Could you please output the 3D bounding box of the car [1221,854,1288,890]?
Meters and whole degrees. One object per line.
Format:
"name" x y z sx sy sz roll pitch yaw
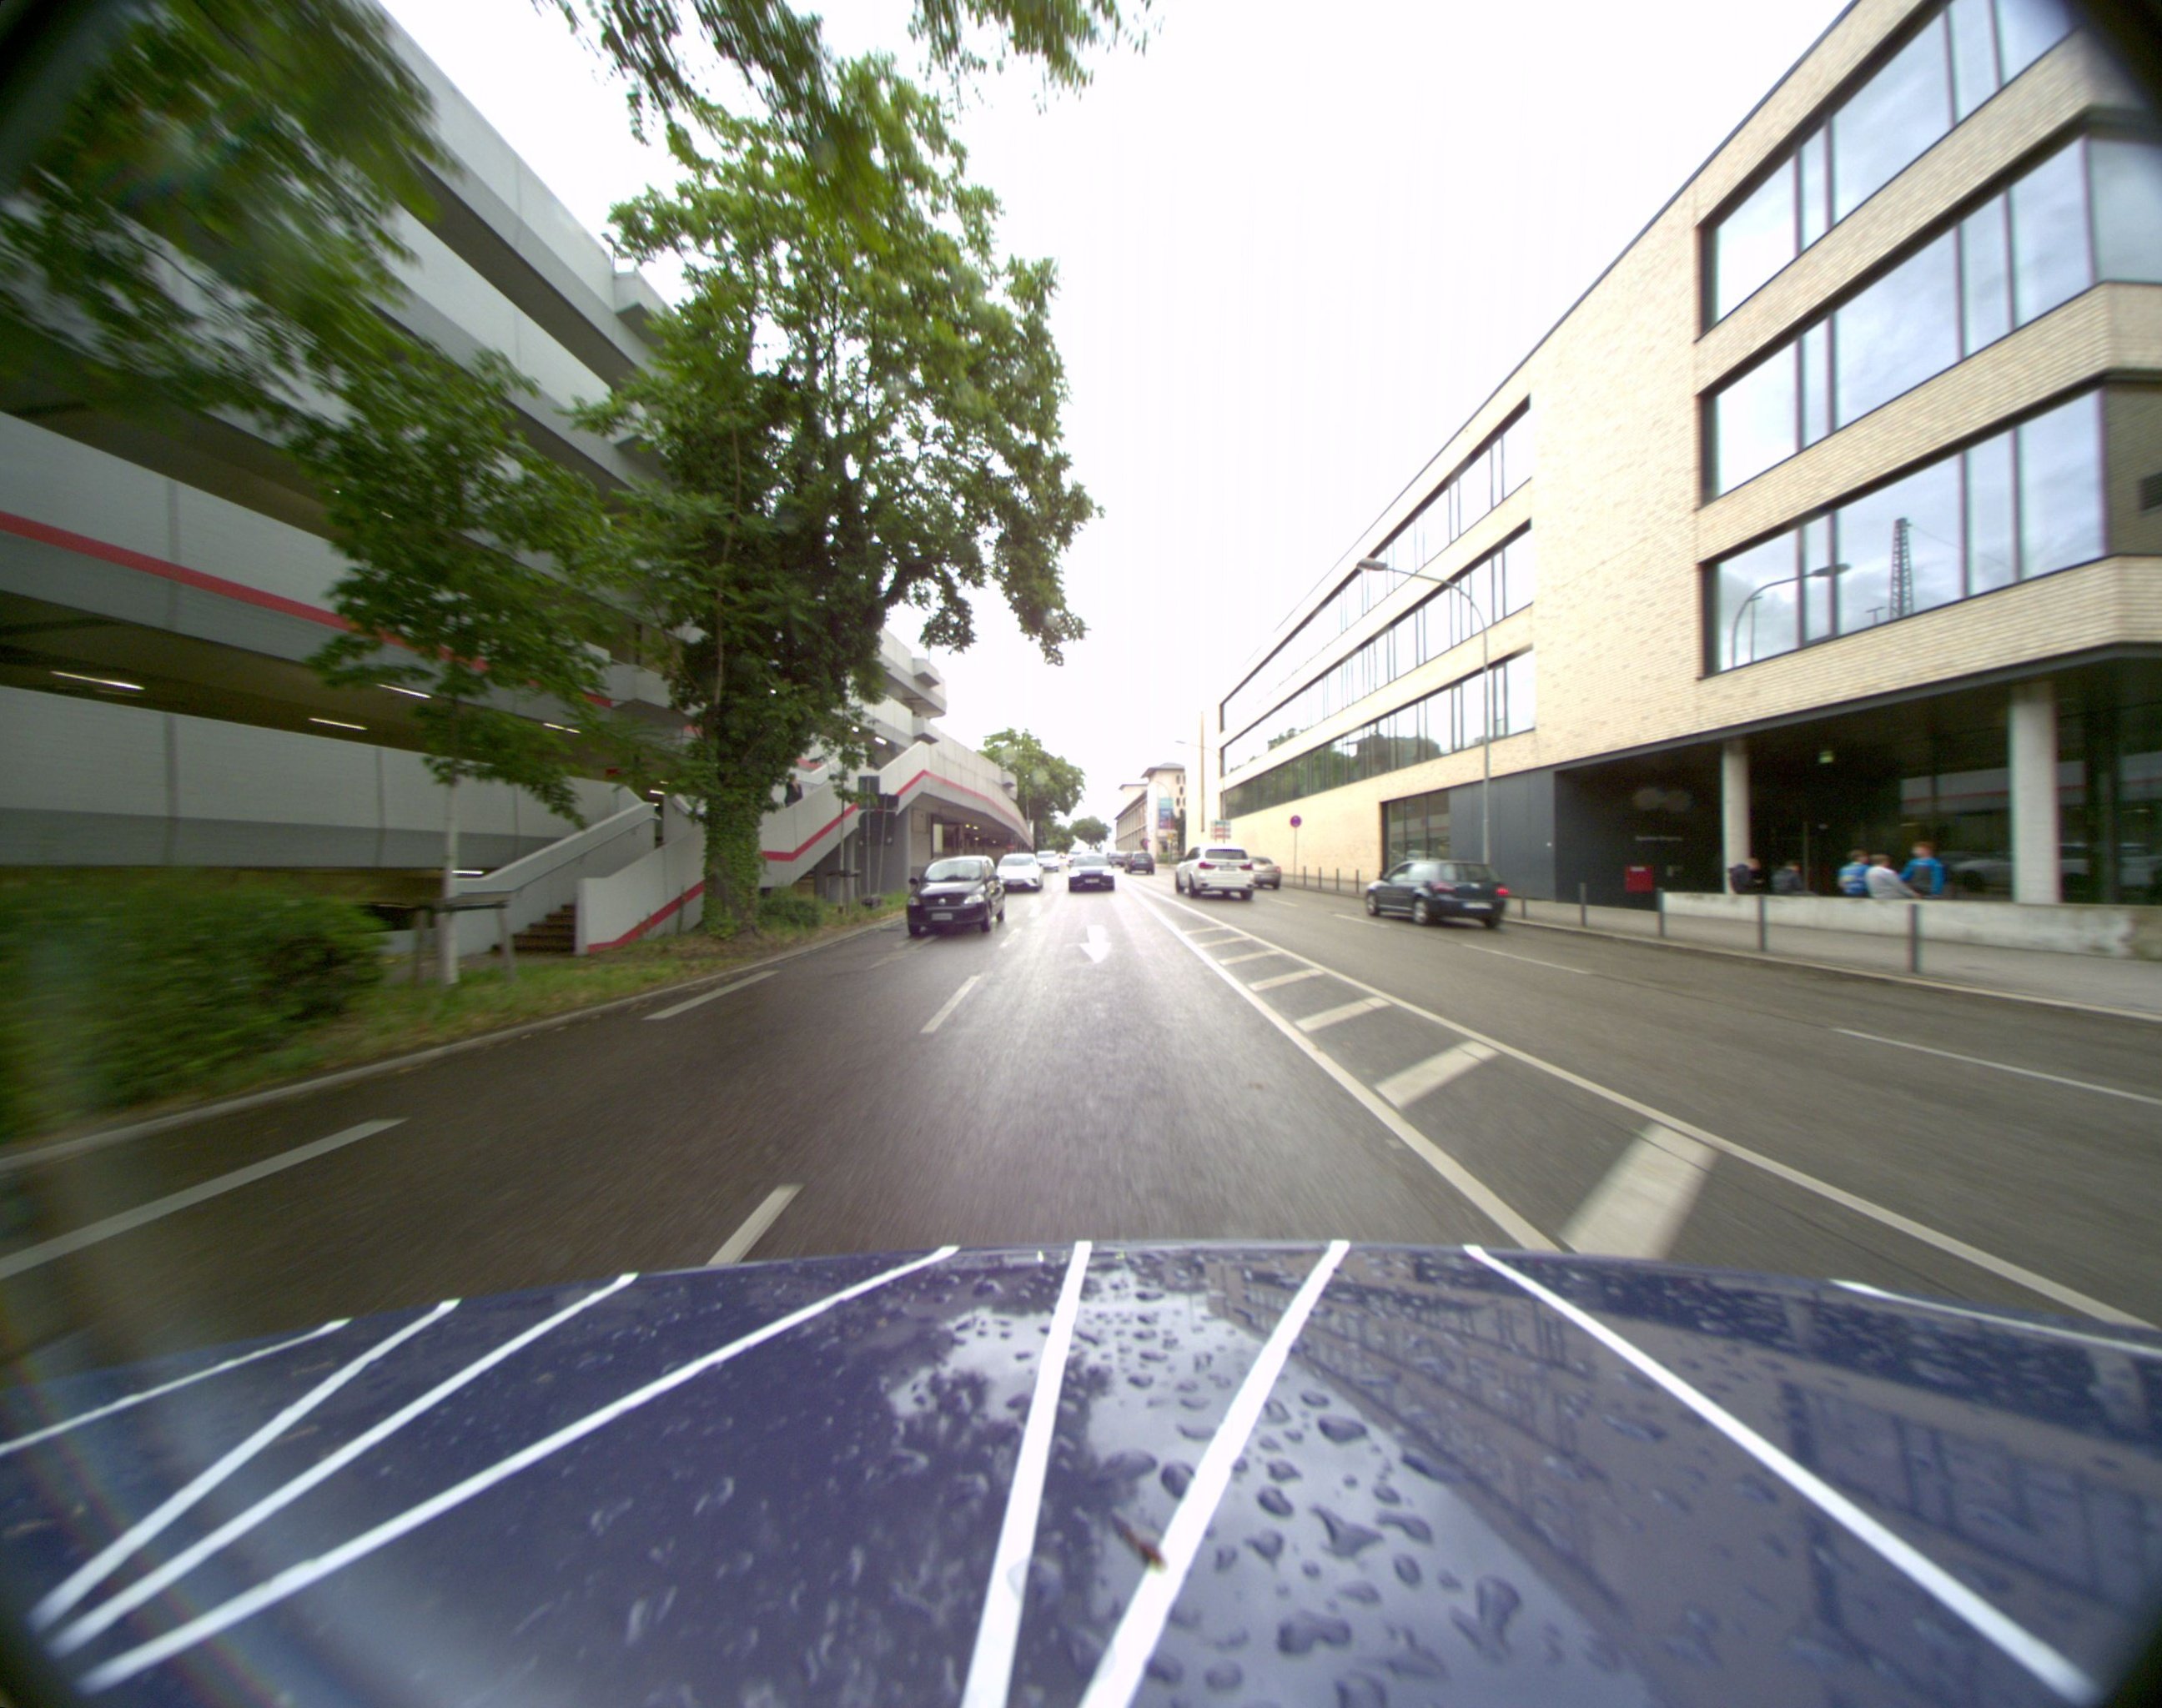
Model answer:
"car" 7.522 0.733 33.328 1.834 1.380 4.228 2 1 -1

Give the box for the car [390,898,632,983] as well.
"car" -12.422 1.858 16.713 3.995 1.614 1.839 -1 1 5

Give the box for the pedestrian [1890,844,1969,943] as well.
"pedestrian" 15.234 0.687 13.659 0.636 1.704 0.704 -2 2 0

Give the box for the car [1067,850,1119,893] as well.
"car" 0.443 0.647 29.611 1.852 1.516 3.990 -2 0 0

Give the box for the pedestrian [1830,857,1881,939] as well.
"pedestrian" 14.295 0.794 14.031 0.450 1.467 0.463 -2 2 -5

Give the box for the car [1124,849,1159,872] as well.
"car" 4.093 0.411 51.824 1.816 1.454 4.286 2 1 -2

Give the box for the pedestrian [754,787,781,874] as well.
"pedestrian" -7.794 -0.580 18.878 0.422 2.142 0.434 -1 1 5

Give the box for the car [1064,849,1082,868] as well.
"car" -0.920 0.517 88.868 1.998 2.002 3.999 -2 1 0

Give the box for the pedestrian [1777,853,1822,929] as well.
"pedestrian" 14.252 0.716 15.083 0.450 1.467 0.463 -2 2 -5

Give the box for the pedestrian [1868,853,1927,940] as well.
"pedestrian" 14.222 0.720 13.243 0.442 1.467 0.528 -2 2 -5

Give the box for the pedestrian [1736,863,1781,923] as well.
"pedestrian" 14.234 0.819 15.970 0.550 1.208 0.421 -2 2 3

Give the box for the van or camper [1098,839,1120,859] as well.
"van or camper" 3.661 -0.647 100.600 2.108 2.567 5.903 1 1 -6

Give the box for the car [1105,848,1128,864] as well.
"car" 3.450 0.161 74.566 1.888 1.489 4.560 1 1 -2

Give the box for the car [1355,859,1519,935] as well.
"car" 7.873 0.879 17.268 1.750 1.404 3.970 2 1 -1

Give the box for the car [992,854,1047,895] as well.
"car" -2.472 0.786 31.411 1.915 1.443 4.036 -2 1 0

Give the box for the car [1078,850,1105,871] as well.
"car" 0.859 0.463 59.503 1.998 1.477 3.999 -2 1 2

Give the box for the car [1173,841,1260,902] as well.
"car" 4.393 0.511 25.410 1.896 1.801 4.573 2 1 -2

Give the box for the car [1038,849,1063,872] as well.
"car" -2.305 0.454 58.431 1.727 1.628 3.999 -2 1 0

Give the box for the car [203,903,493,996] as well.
"car" -13.330 1.703 13.962 3.740 1.530 1.812 -1 -3 6

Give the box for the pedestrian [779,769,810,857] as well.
"pedestrian" -7.115 -1.008 18.853 0.515 2.142 0.494 -1 1 5

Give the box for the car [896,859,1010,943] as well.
"car" -2.610 0.897 16.378 1.683 1.516 3.990 -2 0 0
